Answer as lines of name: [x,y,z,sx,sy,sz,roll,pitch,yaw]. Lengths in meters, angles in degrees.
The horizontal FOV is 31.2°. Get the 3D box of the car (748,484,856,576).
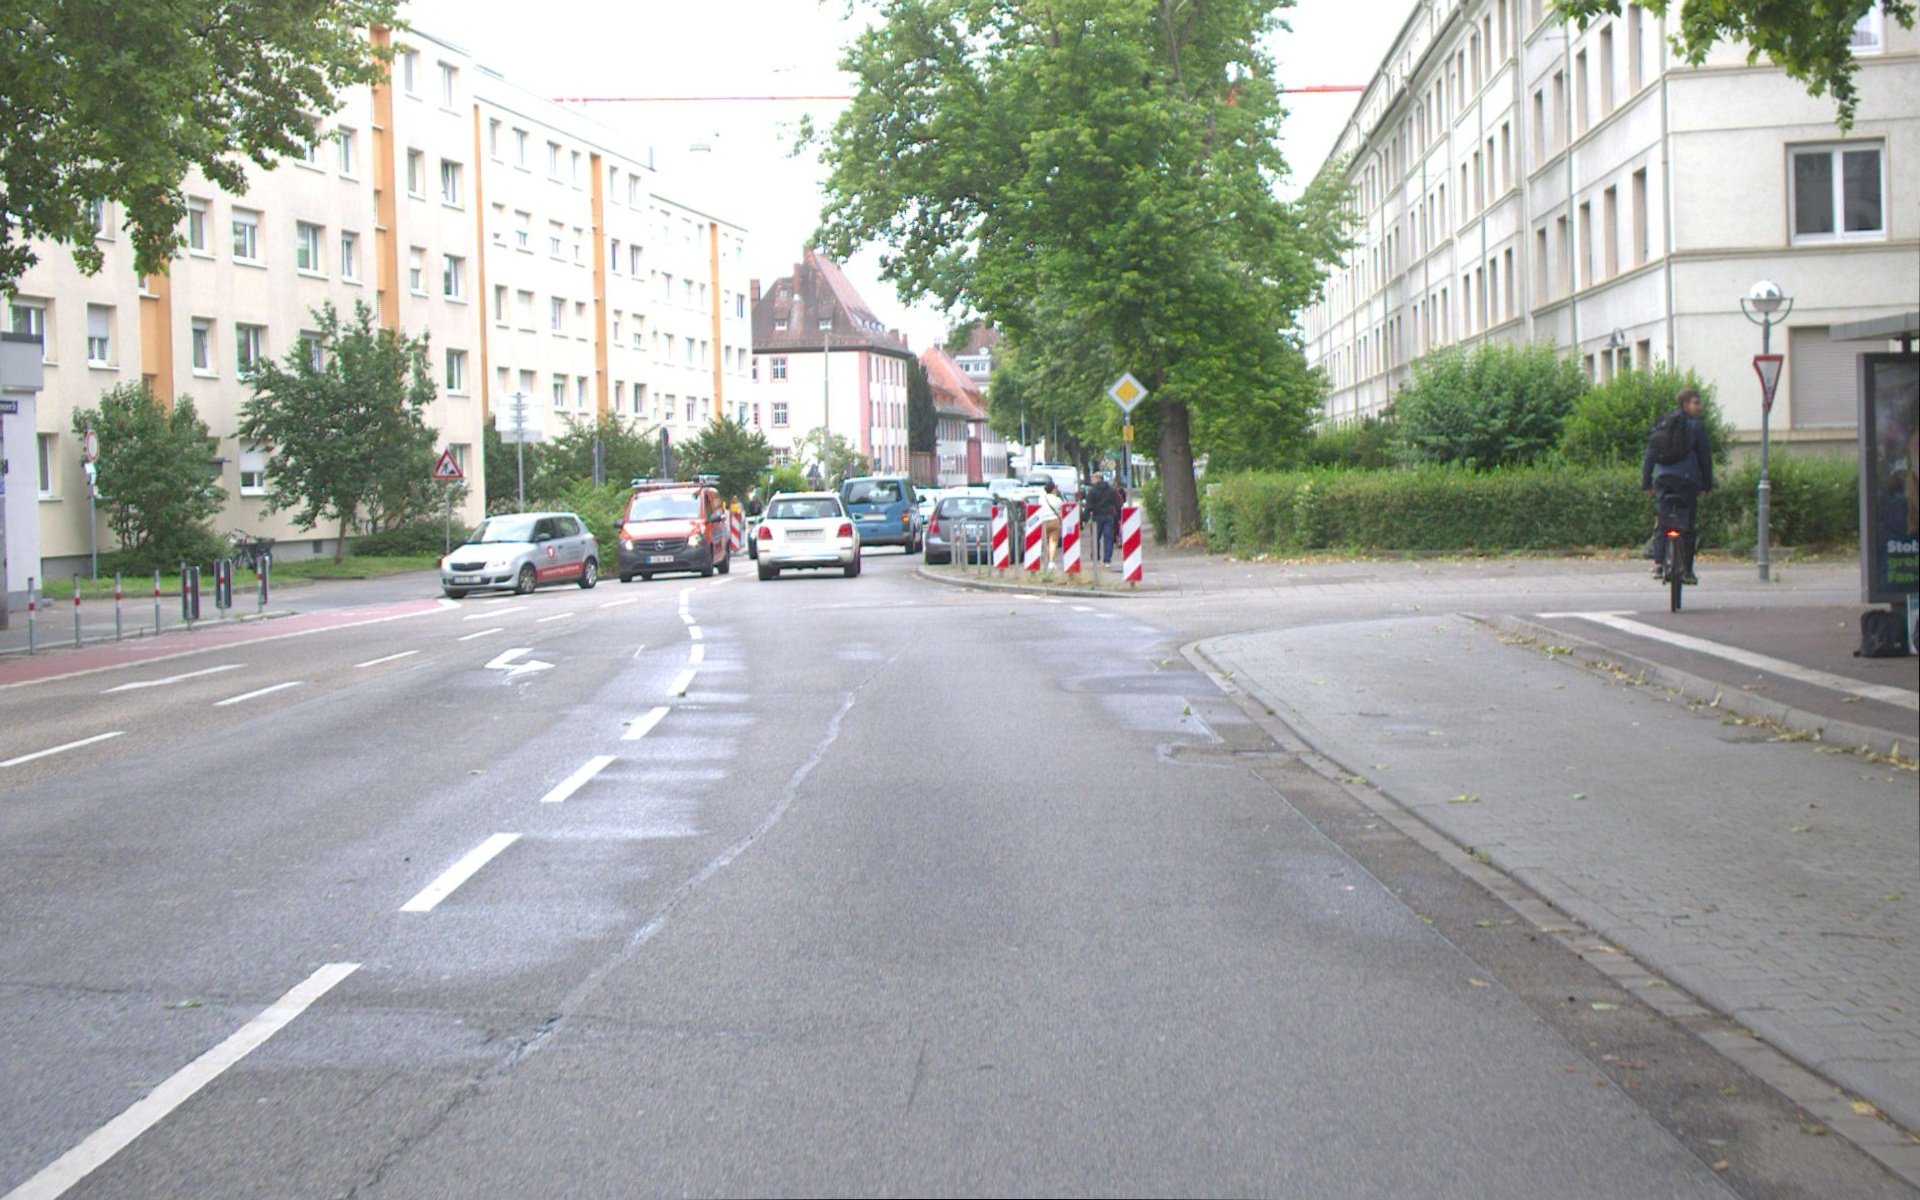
car: [-2.937,-1.340,64.582,1.815,1.586,4.001,-2,3,0]

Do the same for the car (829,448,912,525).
car: [-2.264,-2.868,86.768,1.993,1.842,4.001,-2,2,-2]

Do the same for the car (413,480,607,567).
car: [-8.319,-1.435,63.926,1.769,1.481,3.996,-1,2,23]

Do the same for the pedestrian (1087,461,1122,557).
pedestrian: [2.542,-1.605,60.531,0.550,1.678,0.570,-2,2,-2]

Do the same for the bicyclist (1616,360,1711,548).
bicyclist: [6.693,-1.386,32.698,0.761,1.752,0.820,-1,2,19]

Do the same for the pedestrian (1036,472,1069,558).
pedestrian: [1.621,-1.493,60.454,0.515,1.490,0.511,-2,2,-2]

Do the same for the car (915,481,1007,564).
car: [0.007,-1.629,71.266,1.815,1.586,4.001,-2,3,0]

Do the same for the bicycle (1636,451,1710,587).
bicycle: [6.784,-0.786,32.662,0.417,1.238,1.925,-1,2,19]

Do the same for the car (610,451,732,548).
car: [-5.912,-2.087,70.687,1.768,1.905,4.000,-1,2,6]

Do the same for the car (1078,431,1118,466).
car: [8.048,-8.827,200.703,1.993,2.006,4.001,-1,2,-2]
